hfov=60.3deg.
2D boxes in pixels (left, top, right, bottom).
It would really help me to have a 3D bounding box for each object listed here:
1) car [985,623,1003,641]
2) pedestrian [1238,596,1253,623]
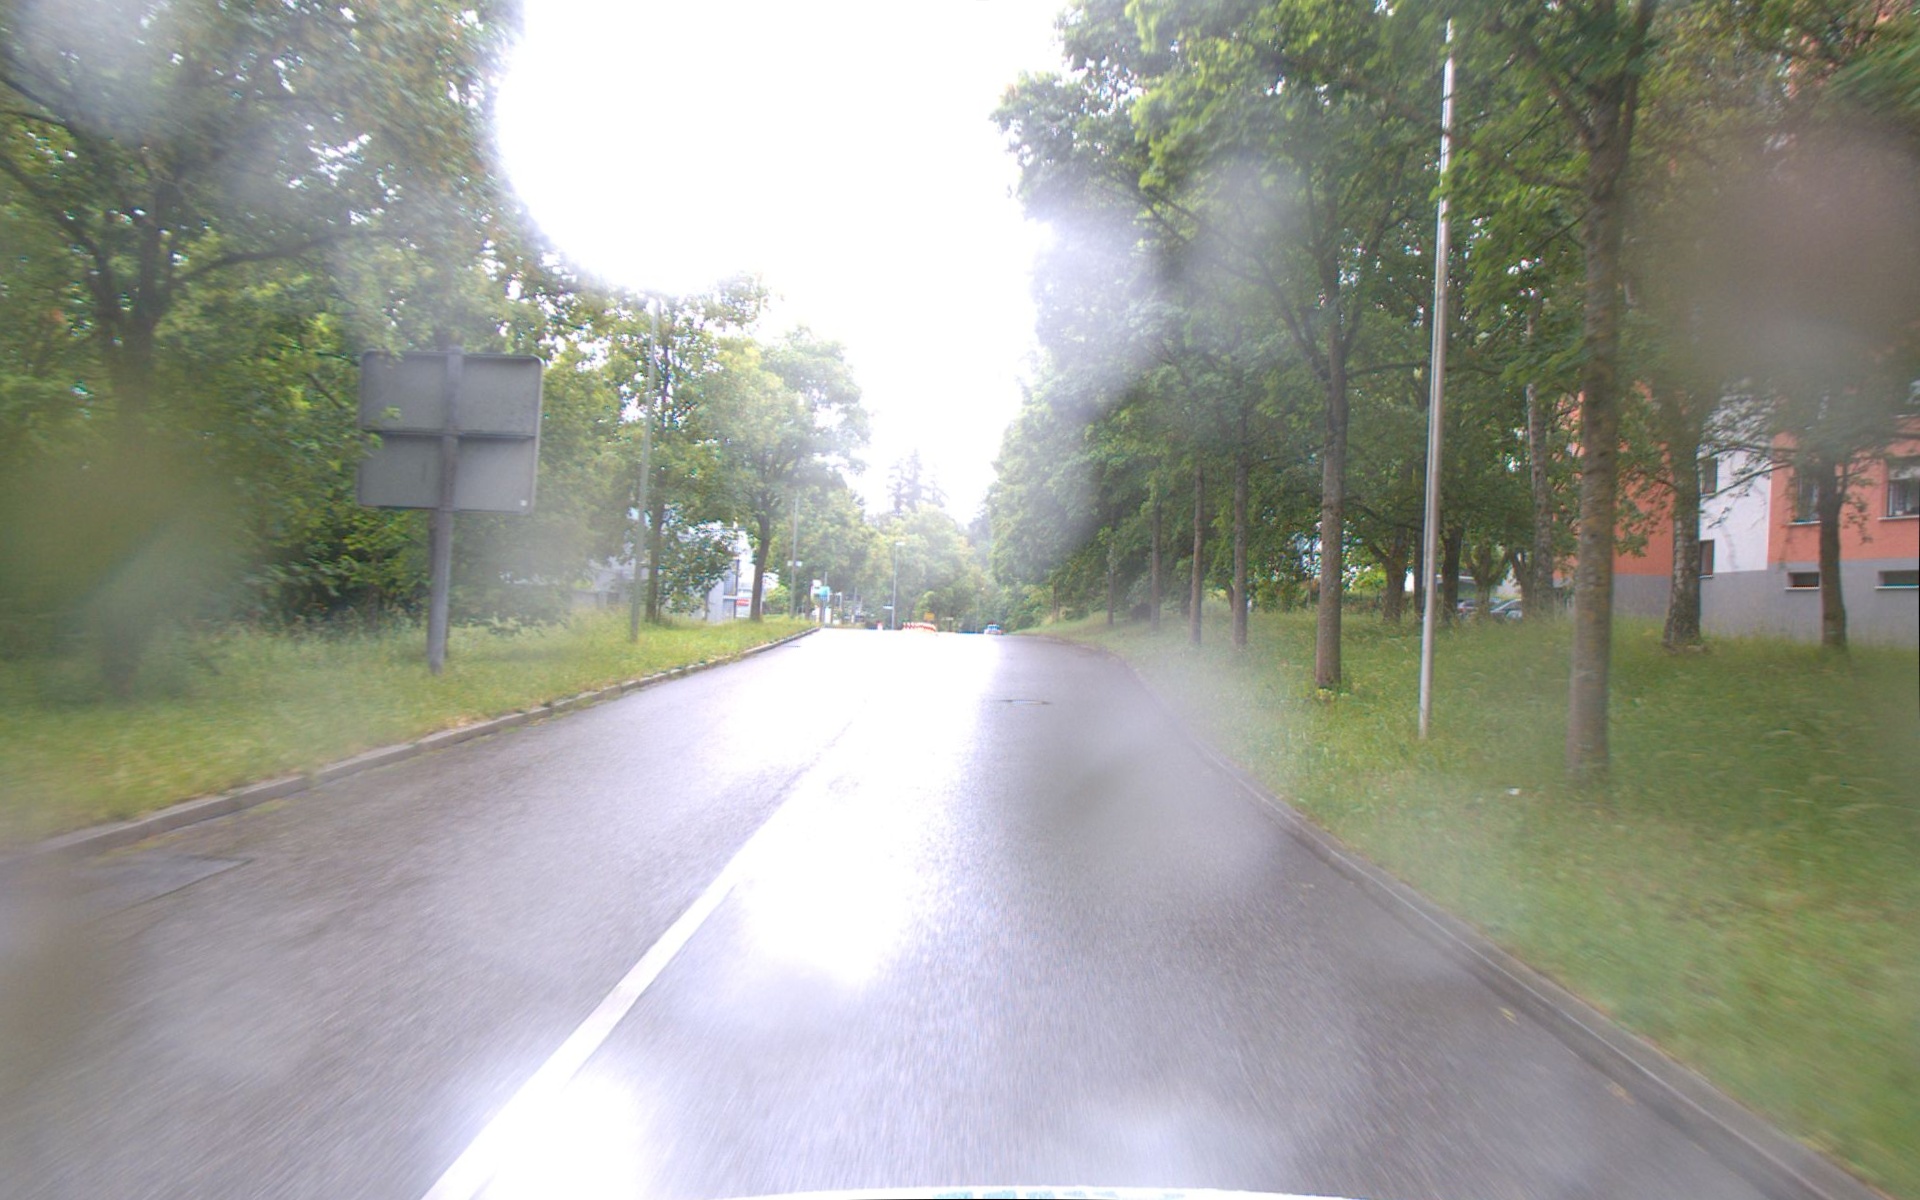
[{"bbox_3d":[3.163,2.990,153.480,1.700,1.537,4.000,0,-2,2],"label":"car"},{"bbox_3d":[14.003,0.471,81.042,0.640,1.306,0.625,0,-1,2],"label":"pedestrian"}]
